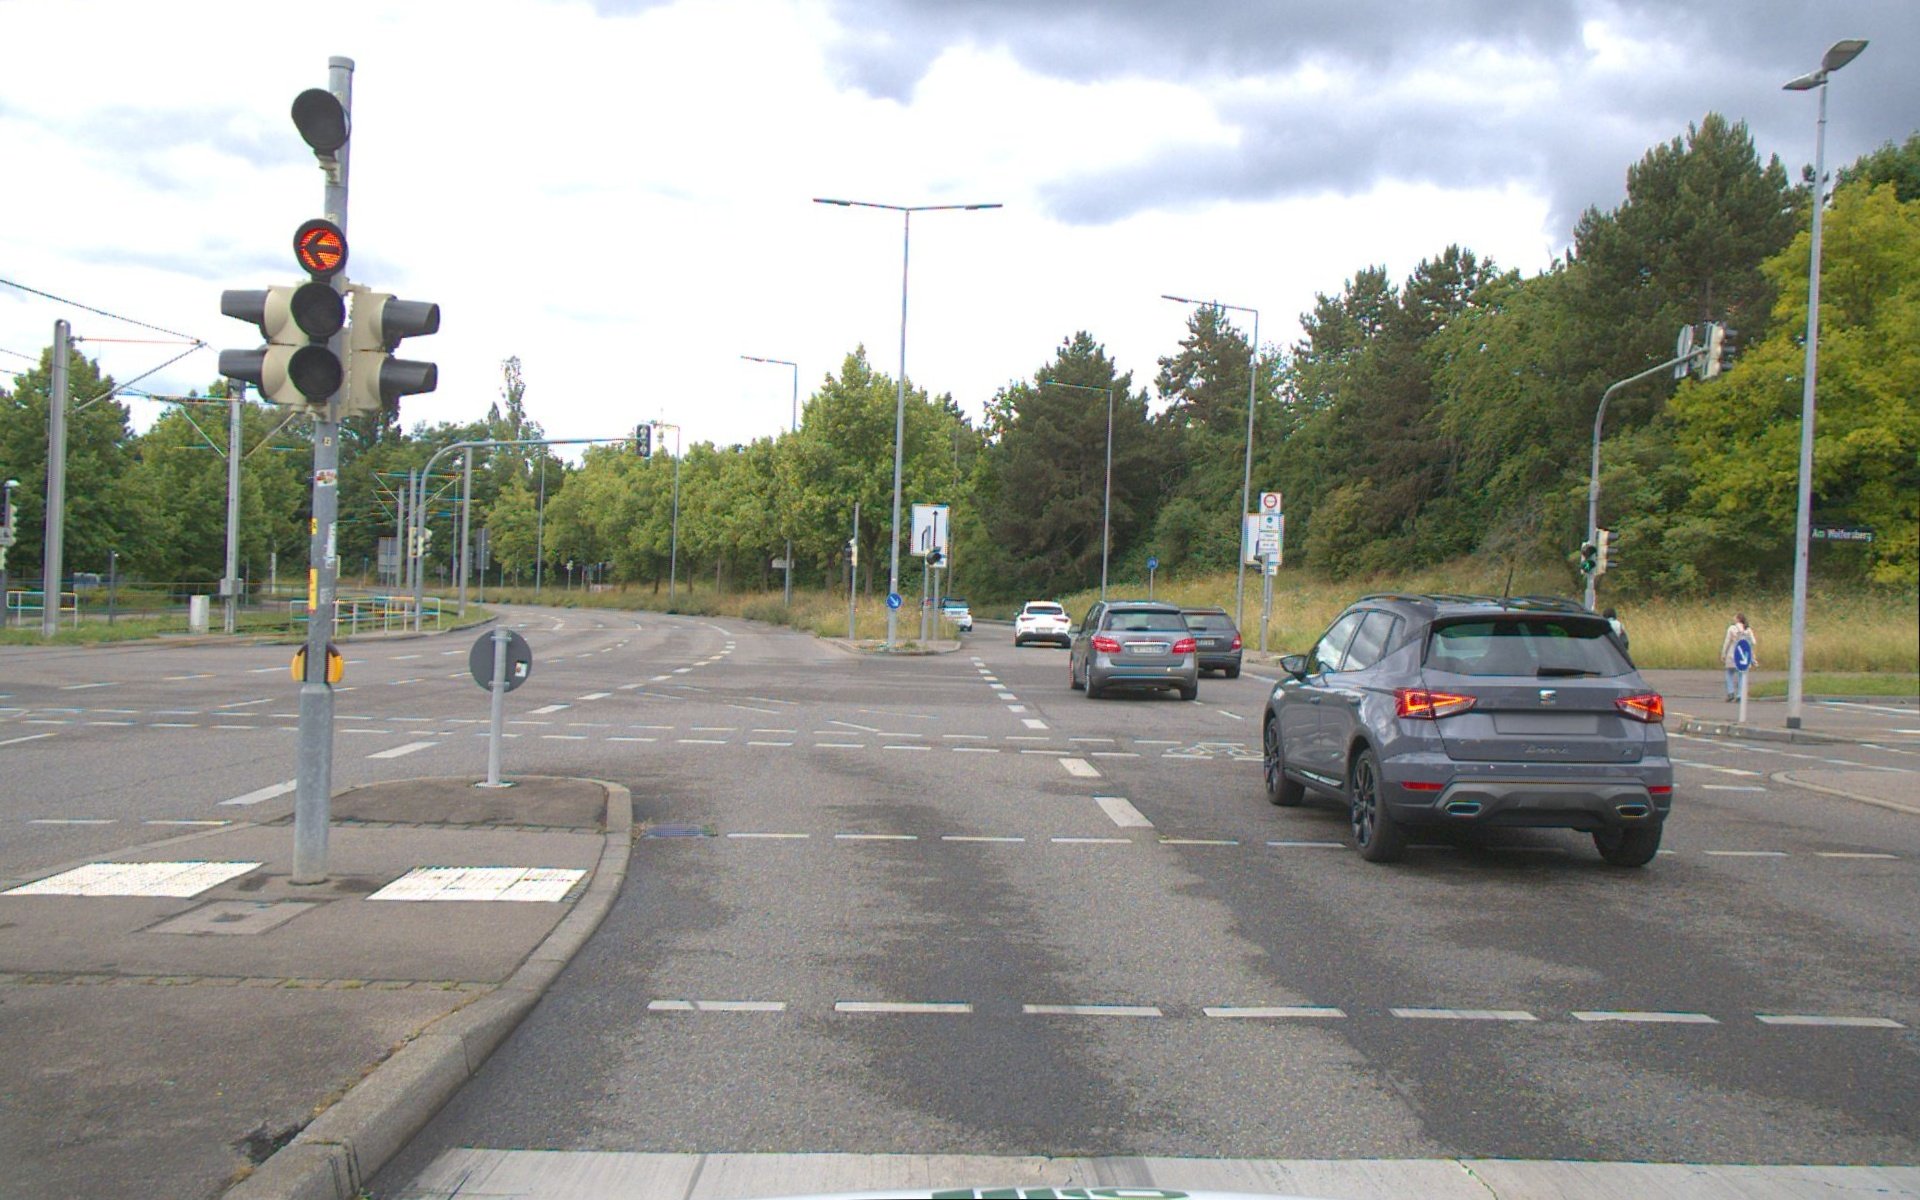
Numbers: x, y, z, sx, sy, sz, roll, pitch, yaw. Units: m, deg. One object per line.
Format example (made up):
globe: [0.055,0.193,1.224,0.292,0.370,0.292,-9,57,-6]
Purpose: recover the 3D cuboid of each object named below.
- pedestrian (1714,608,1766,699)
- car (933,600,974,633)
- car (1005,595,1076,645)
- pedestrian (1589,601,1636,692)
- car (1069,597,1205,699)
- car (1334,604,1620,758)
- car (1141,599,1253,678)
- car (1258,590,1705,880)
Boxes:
pedestrian: [14.176,0.963,30.084,0.630,1.640,0.714,1,-1,5]
car: [-0.329,0.767,78.390,1.562,1.543,2.761,1,0,-8]
car: [2.586,0.633,54.078,1.808,1.533,4.527,1,0,-4]
pedestrian: [12.279,0.864,31.144,0.630,1.691,0.714,1,-1,6]
car: [2.835,0.728,27.268,1.711,1.534,4.047,1,0,-1]
car: [5.480,0.789,18.116,1.711,1.407,4.290,1,0,-1]
car: [5.018,0.781,35.581,1.711,1.511,4.355,1,1,-1]
car: [3.129,0.711,10.731,1.591,1.519,3.836,1,0,-2]
